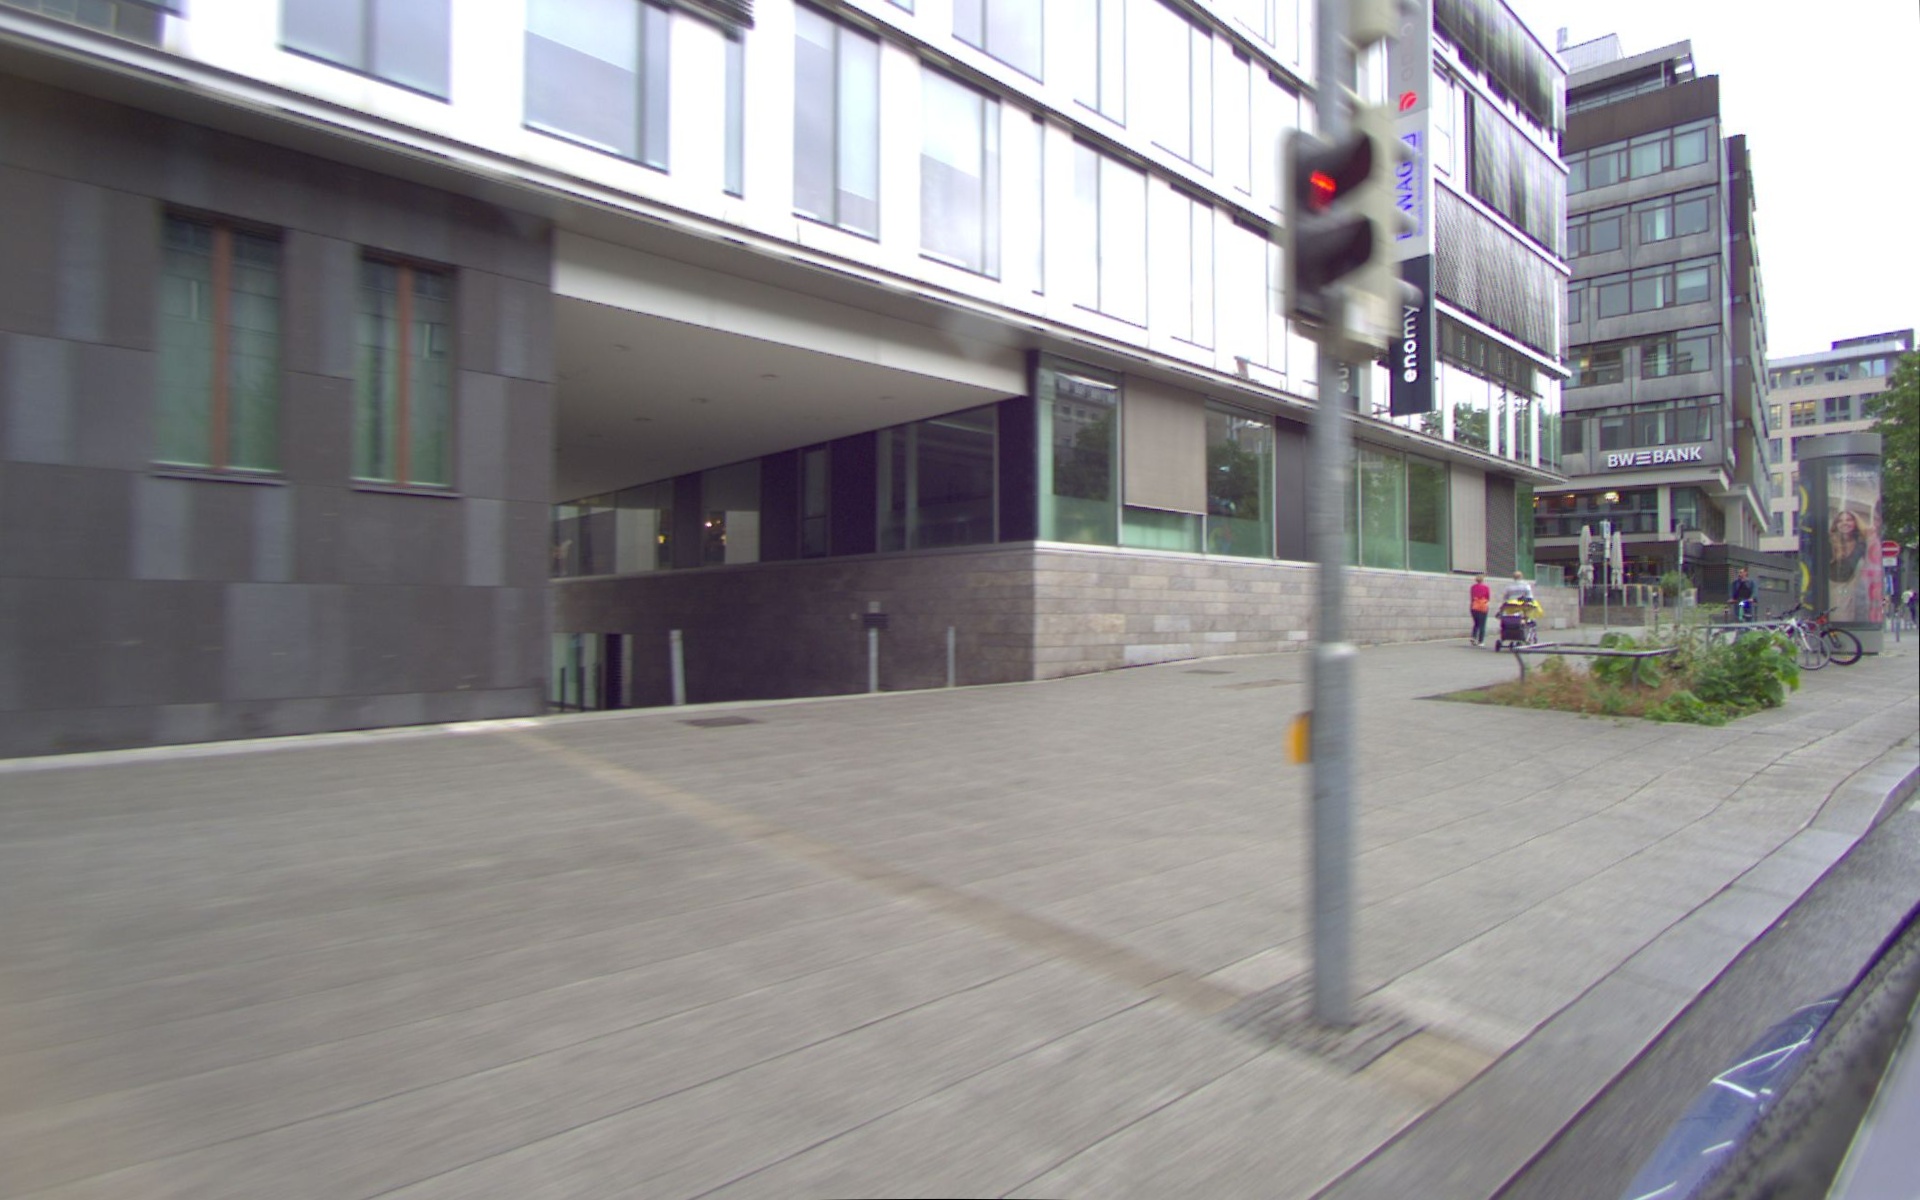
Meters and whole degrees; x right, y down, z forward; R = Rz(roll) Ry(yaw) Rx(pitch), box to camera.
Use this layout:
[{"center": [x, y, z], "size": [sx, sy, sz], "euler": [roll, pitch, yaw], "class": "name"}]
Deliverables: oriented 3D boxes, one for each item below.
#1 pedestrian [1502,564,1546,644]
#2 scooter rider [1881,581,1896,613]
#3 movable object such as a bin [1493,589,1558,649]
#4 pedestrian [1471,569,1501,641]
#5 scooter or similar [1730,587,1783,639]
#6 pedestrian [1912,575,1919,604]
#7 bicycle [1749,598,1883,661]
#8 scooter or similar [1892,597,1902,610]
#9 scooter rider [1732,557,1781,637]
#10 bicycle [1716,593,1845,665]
[{"center": [13.333, 0.076, 23.922], "size": [0.734, 1.853, 0.722], "euler": [-1, 1, -43], "class": "pedestrian"}, {"center": [60.049, -0.223, 65.426], "size": [0.840, 2.051, 0.626], "euler": [0, 0, -43], "class": "scooter rider"}, {"center": [12.716, 0.396, 22.738], "size": [1.758, 1.281, 0.803], "euler": [-1, 1, -43], "class": "movable object such as a bin"}, {"center": [12.759, 0.113, 24.551], "size": [0.569, 1.720, 0.484], "euler": [-1, 1, -43], "class": "pedestrian"}, {"center": [20.662, 0.324, 26.254], "size": [1.310, 1.322, 0.780], "euler": [0, 0, -38], "class": "scooter or similar"}, {"center": [57.437, -0.610, 60.631], "size": [0.537, 1.723, 0.551], "euler": [-1, 0, -40], "class": "pedestrian"}, {"center": [16.341, 0.536, 19.361], "size": [0.658, 1.124, 1.875], "euler": [0, 1, -40], "class": "bicycle"}, {"center": [60.379, 0.234, 65.211], "size": [1.255, 0.782, 0.408], "euler": [-1, 0, -44], "class": "scooter or similar"}, {"center": [20.671, -0.076, 26.262], "size": [0.907, 2.046, 0.780], "euler": [0, 0, -38], "class": "scooter rider"}, {"center": [14.824, 0.494, 18.313], "size": [1.791, 1.222, 0.659], "euler": [1, 1, 43], "class": "bicycle"}]
